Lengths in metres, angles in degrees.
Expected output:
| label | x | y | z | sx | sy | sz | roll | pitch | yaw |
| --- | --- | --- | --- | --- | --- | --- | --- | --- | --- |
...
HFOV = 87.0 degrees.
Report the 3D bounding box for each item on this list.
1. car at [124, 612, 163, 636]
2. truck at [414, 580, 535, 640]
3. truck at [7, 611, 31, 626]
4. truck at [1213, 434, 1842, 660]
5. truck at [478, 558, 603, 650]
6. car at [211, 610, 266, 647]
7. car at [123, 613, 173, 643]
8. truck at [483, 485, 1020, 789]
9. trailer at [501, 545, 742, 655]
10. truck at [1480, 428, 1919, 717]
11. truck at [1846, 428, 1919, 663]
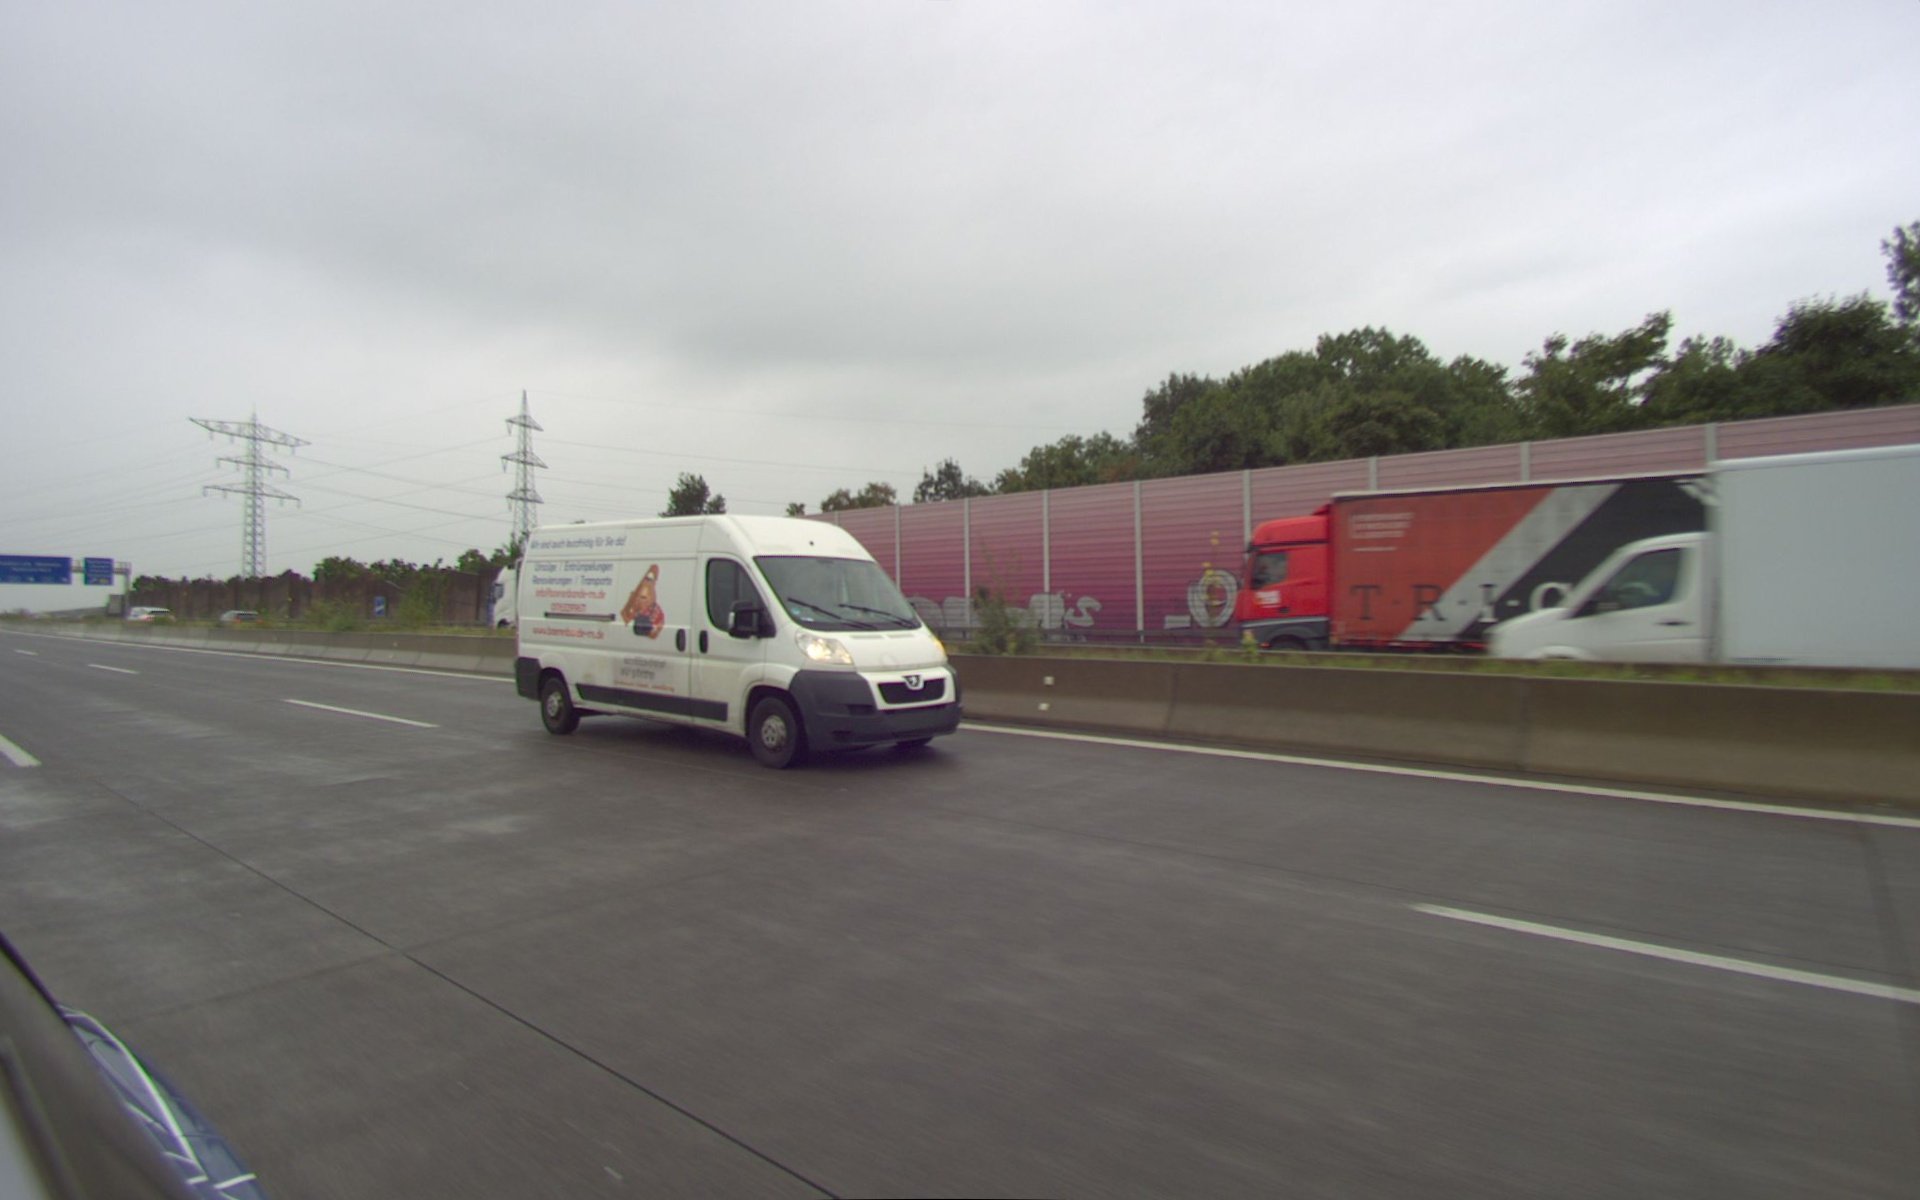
| label | x | y | z | sx | sy | sz | roll | pitch | yaw |
| --- | --- | --- | --- | --- | --- | --- | --- | --- | --- |
| car | -74.026 | 2.146 | 91.744 | 5.133 | 2.029 | 1.972 | -1 | 0 | 42 |
| truck | -29.556 | 0.627 | 61.311 | 10.427 | 3.375 | 2.685 | -1 | 1 | 41 |
| truck | -141.097 | 2.746 | 151.730 | 5.418 | 2.222 | 2.122 | -1 | 0 | 43 |
| truck | 10.603 | -0.748 | 20.312 | 10.613 | 3.517 | 2.752 | -1 | -1 | 41 |
| truck | -19.797 | 0.169 | 47.624 | 6.048 | 4.058 | 3.015 | -1 | 1 | 41 |
| car | -42.208 | 1.650 | 59.174 | 4.237 | 2.029 | 1.700 | -1 | 0 | 41 |
| car | -57.409 | 1.939 | 71.486 | 4.789 | 2.029 | 1.973 | -1 | 0 | 41 |
| truck | -2.658 | 0.326 | 11.279 | 6.578 | 2.497 | 2.215 | -1 | 1 | 40 |
| trailer | -14.908 | 0.068 | 43.323 | 14.119 | 4.058 | 3.014 | -1 | 1 | 41 |
| truck | 9.964 | -0.293 | 11.054 | 7.276 | 2.850 | 2.243 | -1 | 1 | 41 |
| truck | 17.872 | -0.882 | 13.889 | 8.490 | 3.517 | 2.752 | -1 | -1 | 41 |
